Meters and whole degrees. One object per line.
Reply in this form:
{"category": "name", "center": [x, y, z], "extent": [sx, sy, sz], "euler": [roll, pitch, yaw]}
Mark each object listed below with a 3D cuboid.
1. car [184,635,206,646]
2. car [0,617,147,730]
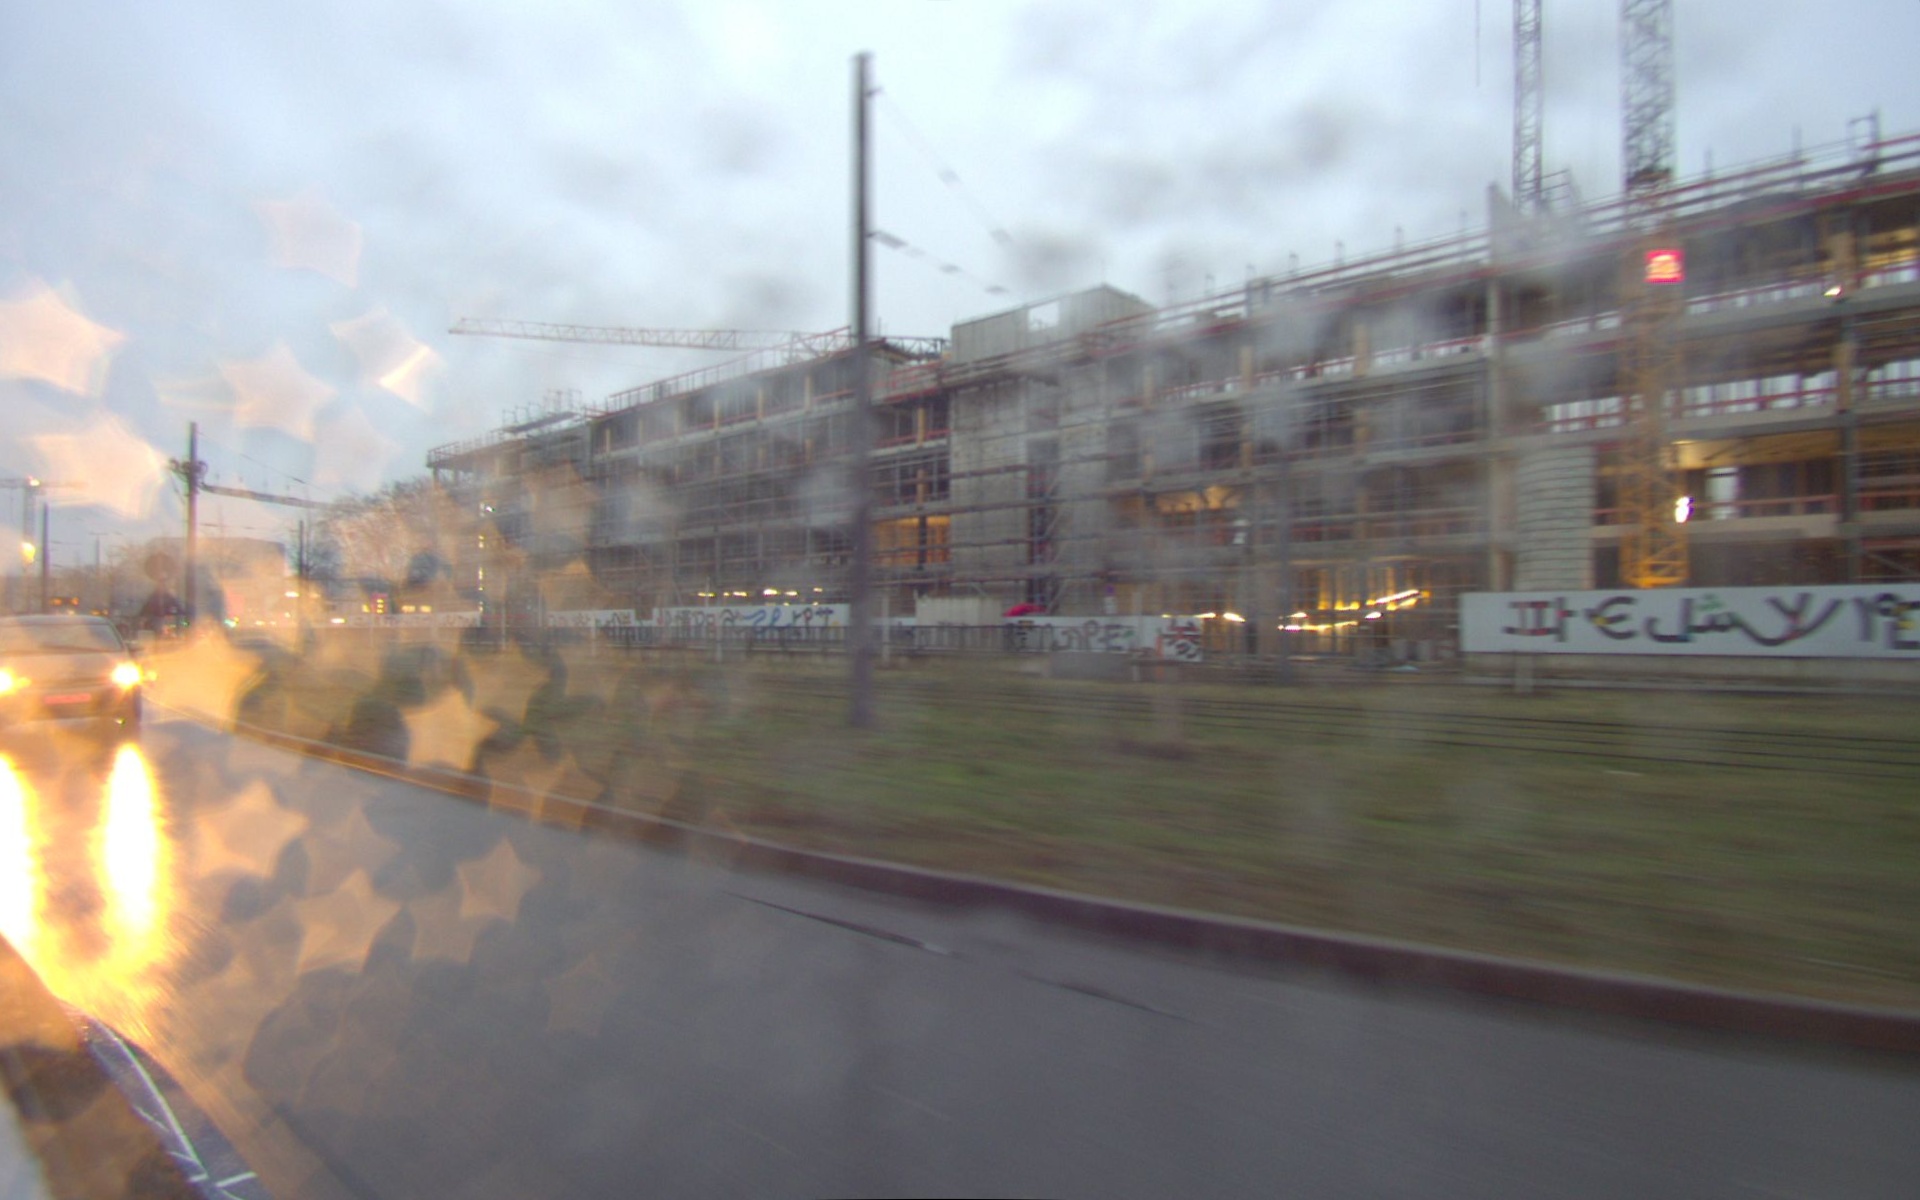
{"category": "car", "center": [-103.315, 5.462, 136.712], "extent": [4.340, 1.425, 1.664], "euler": [-2, -2, 43]}
{"category": "car", "center": [-13.385, 1.012, 14.865], "extent": [4.006, 1.464, 1.784], "euler": [-2, -3, 45]}
